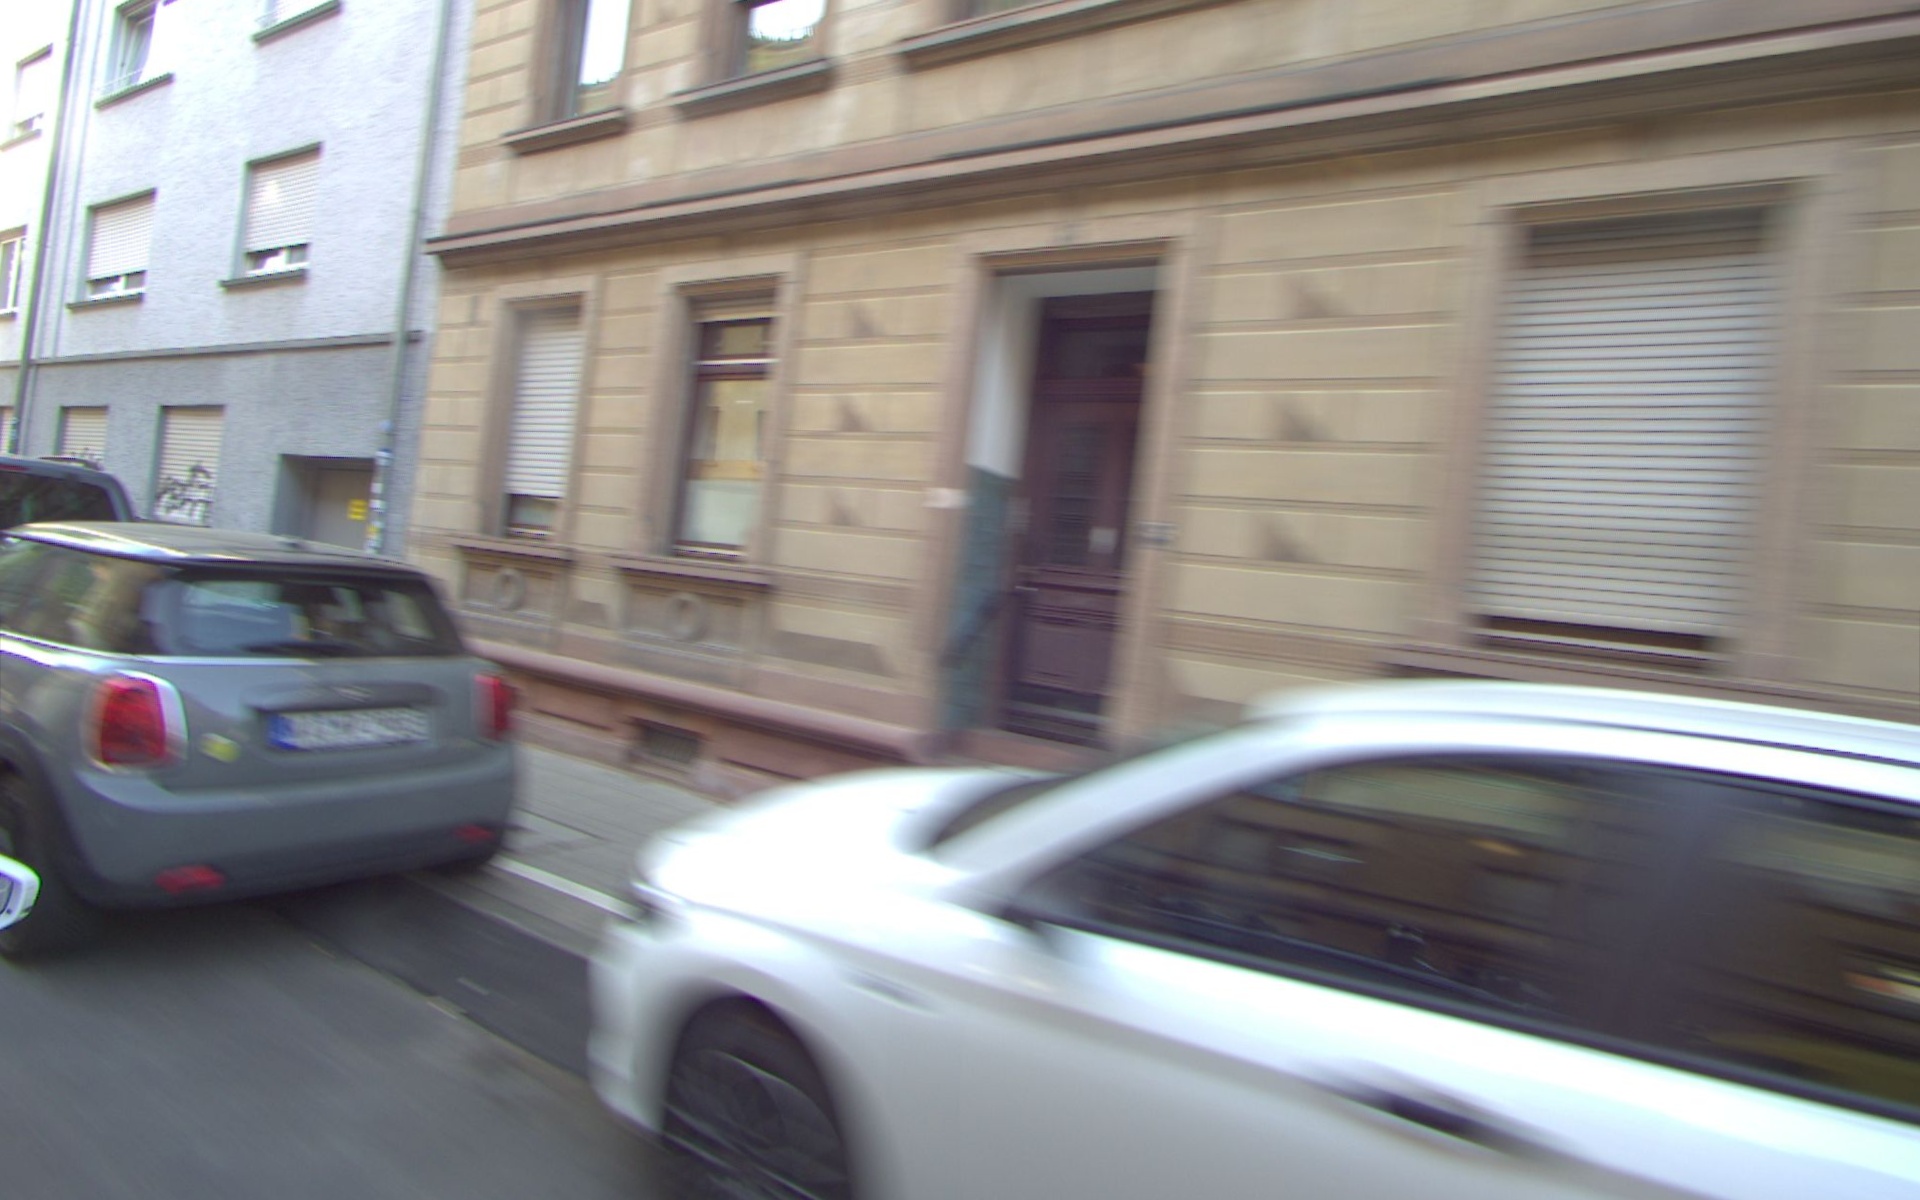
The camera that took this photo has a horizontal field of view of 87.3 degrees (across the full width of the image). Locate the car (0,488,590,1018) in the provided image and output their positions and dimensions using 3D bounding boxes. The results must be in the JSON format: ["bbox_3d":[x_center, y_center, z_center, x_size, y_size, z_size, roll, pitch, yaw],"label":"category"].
[{"bbox_3d":[-3.889,0.301,4.825,4.218,1.473,1.753,7,3,33],"label":"car"}]

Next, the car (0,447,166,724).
[{"bbox_3d":[-8.234,-0.330,7.763,4.645,1.809,1.755,7,2,32],"label":"car"}]

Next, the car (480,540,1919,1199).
[{"bbox_3d":[1.131,0.861,2.188,4.369,1.539,1.754,7,3,31],"label":"car"}]
